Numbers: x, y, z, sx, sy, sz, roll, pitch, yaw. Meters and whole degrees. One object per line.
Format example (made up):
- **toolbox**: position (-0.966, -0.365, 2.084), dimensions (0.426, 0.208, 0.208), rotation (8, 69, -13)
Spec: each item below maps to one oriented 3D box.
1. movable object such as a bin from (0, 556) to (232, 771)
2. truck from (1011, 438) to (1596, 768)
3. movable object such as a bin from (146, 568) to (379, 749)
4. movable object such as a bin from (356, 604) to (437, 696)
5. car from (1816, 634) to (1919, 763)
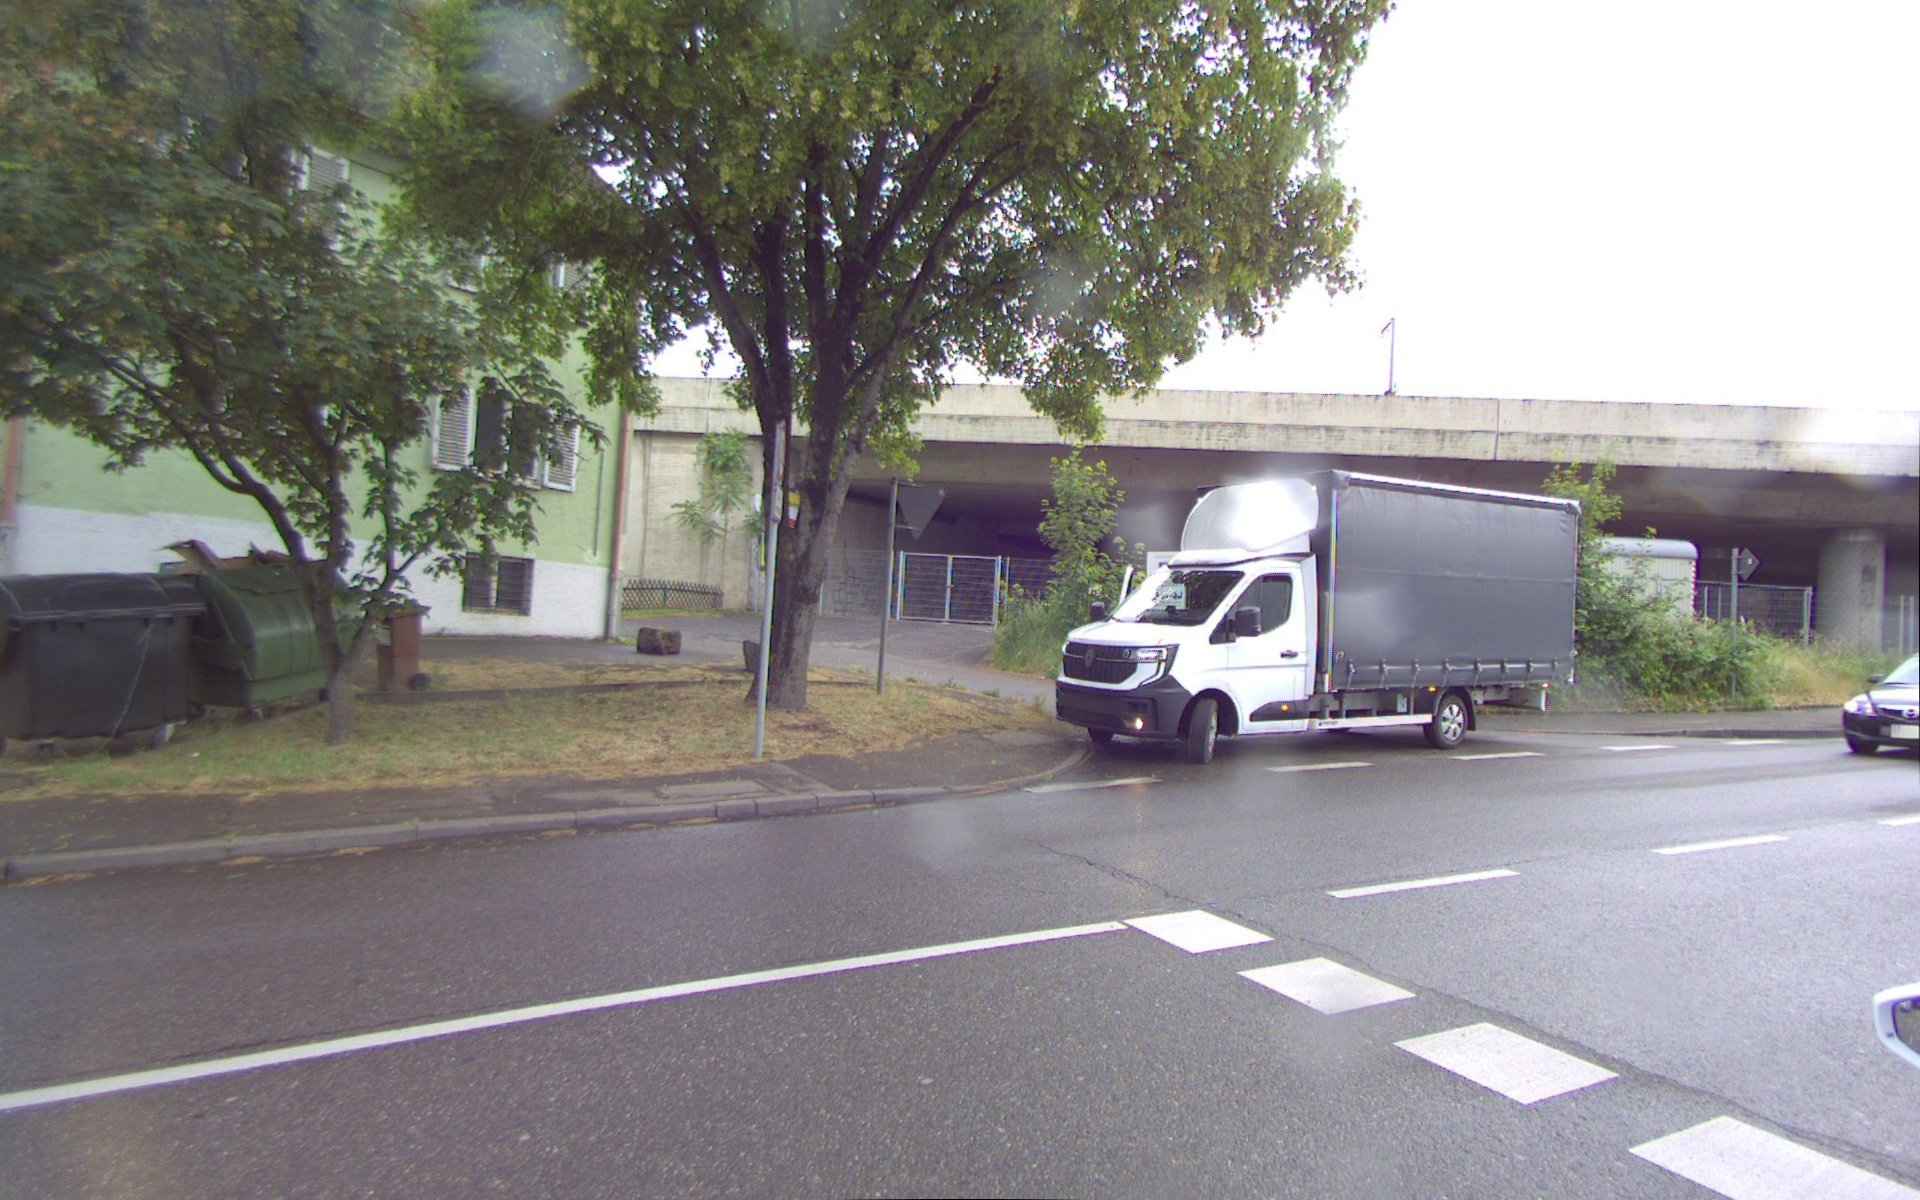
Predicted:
- **movable object such as a bin**: position (-7.126, 0.433, 8.176), dimensions (1.268, 1.457, 1.463), rotation (5, 5, 13)
- **truck**: position (4.638, 0.183, 12.958), dimensions (7.681, 3.279, 2.599), rotation (3, -1, -29)
- **movable object such as a bin**: position (-6.557, 0.486, 9.539), dimensions (1.078, 1.457, 1.463), rotation (5, 5, 13)
- **movable object such as a bin**: position (-6.179, 0.546, 11.021), dimensions (0.715, 0.970, 0.554), rotation (3, -1, -30)
- **car**: position (13.819, 1.312, 13.687), dimensions (4.357, 1.590, 1.834), rotation (2, -1, -28)
